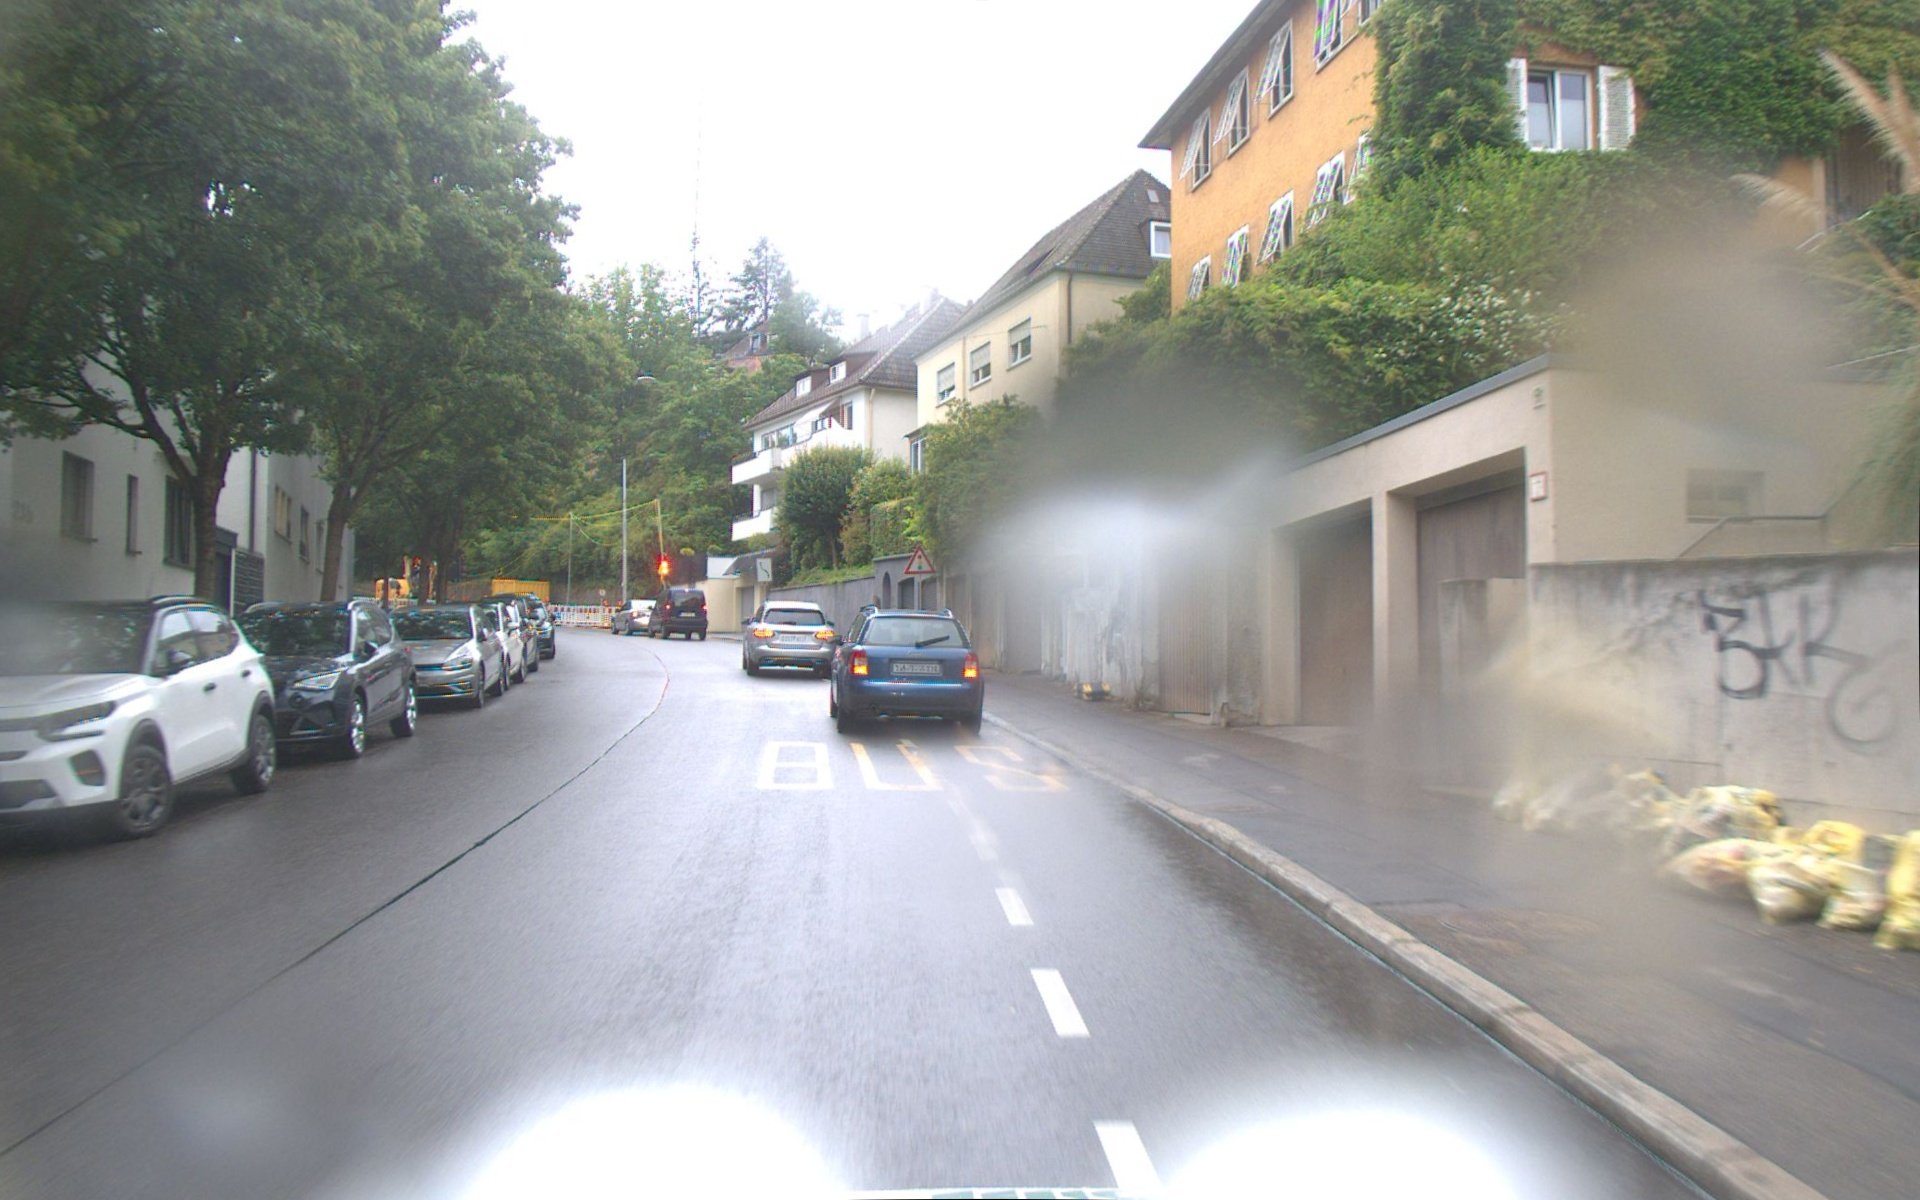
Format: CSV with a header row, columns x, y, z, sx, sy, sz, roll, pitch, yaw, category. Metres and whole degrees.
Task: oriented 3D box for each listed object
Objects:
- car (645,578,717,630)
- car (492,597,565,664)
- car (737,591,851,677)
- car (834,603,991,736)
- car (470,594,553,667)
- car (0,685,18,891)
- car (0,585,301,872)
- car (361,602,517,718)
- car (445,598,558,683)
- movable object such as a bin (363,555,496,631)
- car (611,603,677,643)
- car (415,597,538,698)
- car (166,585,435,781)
x,y,z,sx,sy,sz,roll,pitch,yaw,category
-10.385,0.150,61.422,1.964,1.825,3.977,-1,0,-19,car
-10.957,0.764,42.181,1.528,1.514,4.085,-4,0,-12,car
-3.487,0.648,34.090,1.892,1.646,4.308,1,0,-12,car
-0.647,0.780,20.490,1.750,1.467,3.961,0,0,-4,car
-10.381,0.703,38.464,1.528,1.537,3.374,-3,0,-11,car
-5.991,0.902,7.199,1.585,1.496,3.668,-5,0,-1,car
-6.240,0.838,12.010,1.562,1.687,3.918,-5,0,-6,car
-7.702,0.840,24.766,1.588,1.496,3.963,-3,0,-9,car
-9.299,0.791,33.812,1.634,1.514,4.465,-4,0,-9,car
-29.576,-0.417,92.196,7.161,4.084,2.825,1,0,27,movable object such as a bin
-12.790,0.887,66.763,1.699,1.512,4.044,-1,0,-25,car
-8.303,0.768,28.624,1.546,1.514,3.462,-4,1,-10,car
-6.736,0.778,17.307,1.588,1.687,3.917,-4,0,-8,car
